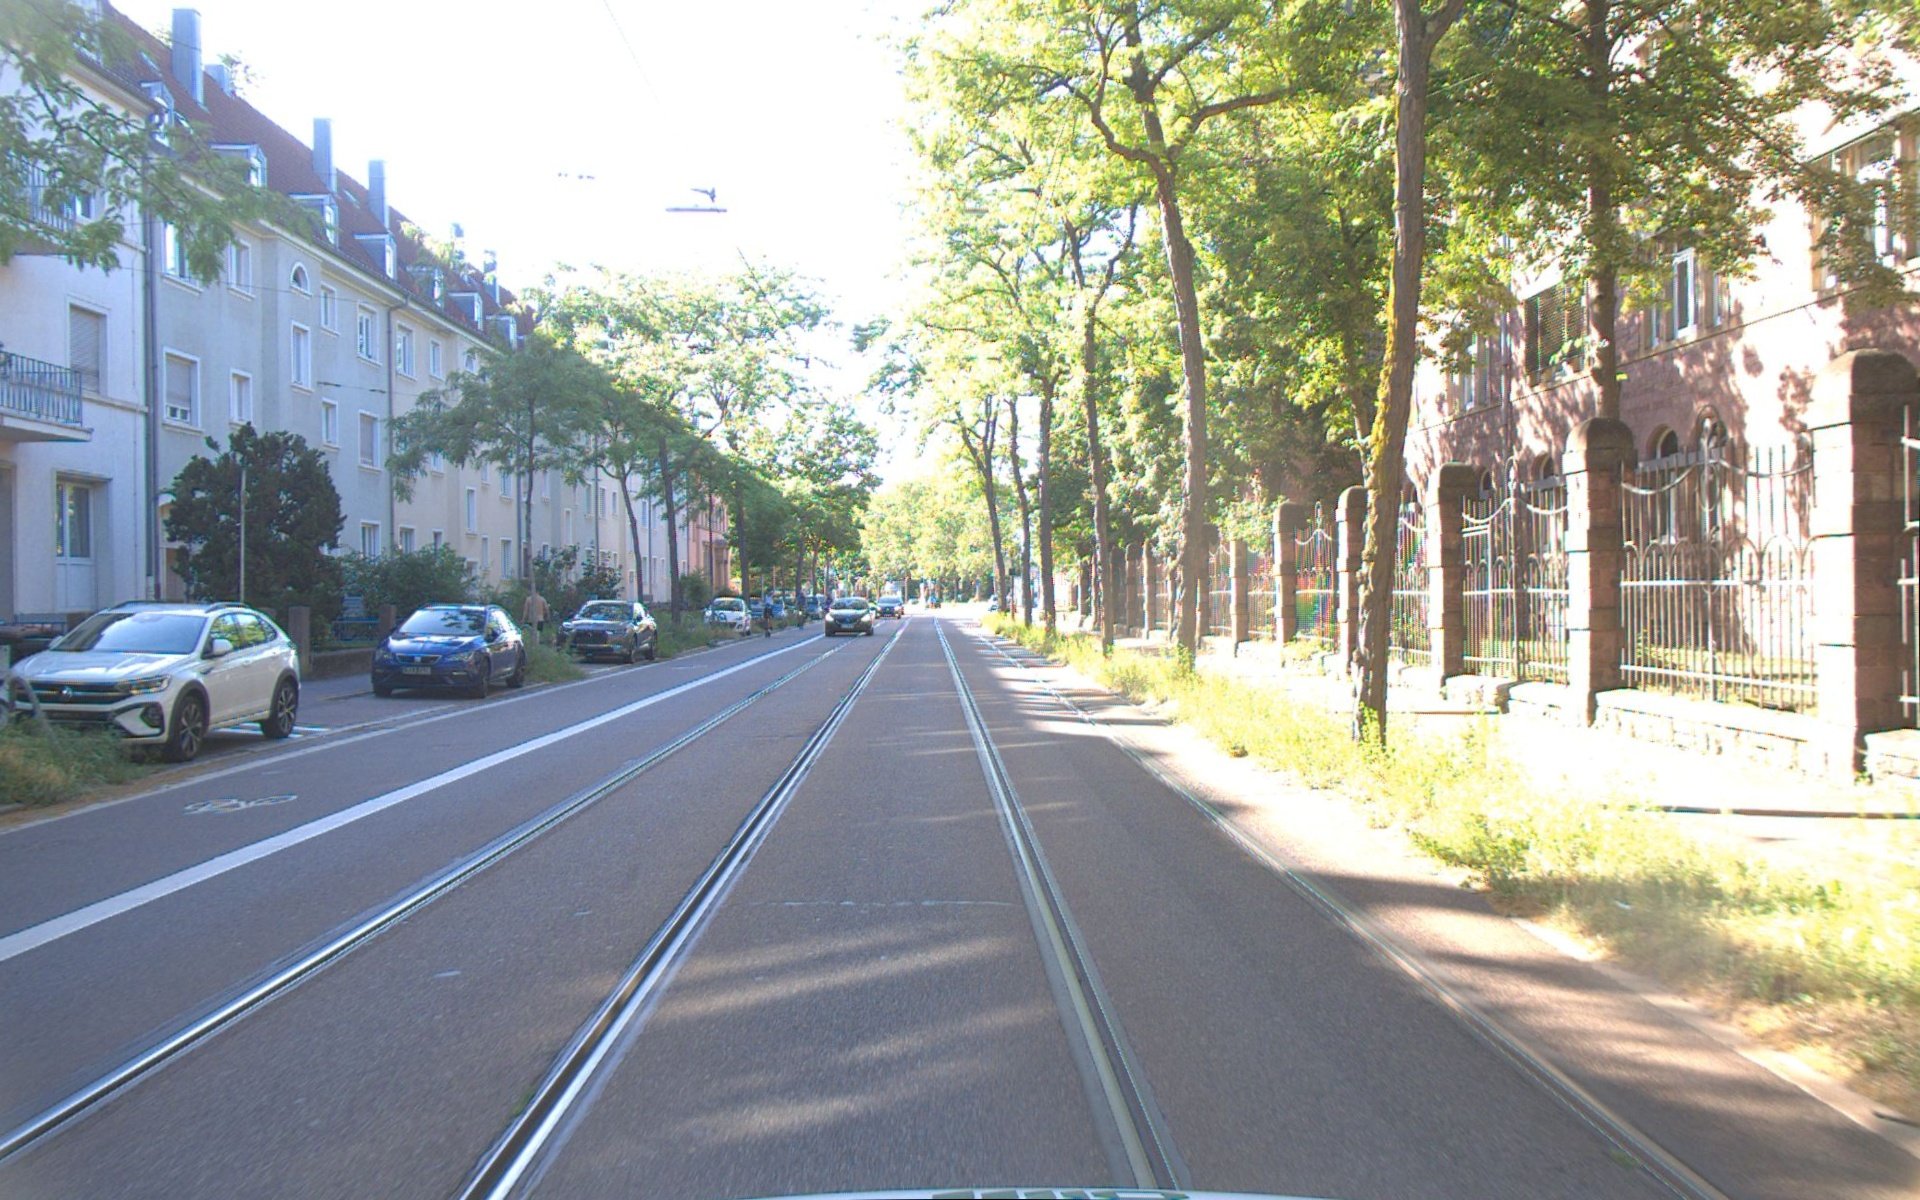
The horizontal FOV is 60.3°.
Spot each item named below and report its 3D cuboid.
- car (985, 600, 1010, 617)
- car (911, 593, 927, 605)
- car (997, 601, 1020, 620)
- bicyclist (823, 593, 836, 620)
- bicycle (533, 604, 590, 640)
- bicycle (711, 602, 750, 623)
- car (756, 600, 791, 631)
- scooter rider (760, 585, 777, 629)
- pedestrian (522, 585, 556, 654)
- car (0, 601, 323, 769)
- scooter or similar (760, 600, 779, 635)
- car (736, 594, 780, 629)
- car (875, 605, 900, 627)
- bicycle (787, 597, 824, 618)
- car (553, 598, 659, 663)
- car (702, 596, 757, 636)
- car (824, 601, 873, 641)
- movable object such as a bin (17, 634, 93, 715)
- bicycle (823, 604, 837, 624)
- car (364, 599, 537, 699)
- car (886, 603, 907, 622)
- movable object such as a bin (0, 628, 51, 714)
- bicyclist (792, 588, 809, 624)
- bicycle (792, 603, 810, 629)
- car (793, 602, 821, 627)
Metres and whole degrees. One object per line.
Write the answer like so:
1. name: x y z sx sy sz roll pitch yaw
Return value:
1. car: 3.713 0.812 163.149 1.905 1.638 3.994 -1 0 -6
2. car: -5.814 -0.112 232.597 1.905 1.638 3.995 -1 0 -6
3. car: 4.412 0.902 150.198 1.802 1.684 3.577 -1 0 -3
4. bicyclist: -8.221 0.394 104.233 0.695 1.635 0.865 -3 0 -1
5. bicycle: -14.025 0.778 58.257 1.869 1.198 0.521 1 0 -4
6. bicycle: -14.128 0.768 101.785 2.236 1.219 0.560 2 1 5
7. car: -9.617 0.784 85.472 1.529 1.482 3.928 2 0 -3
8. scooter rider: -7.594 0.274 65.656 0.486 1.729 0.786 -4 0 -1
9. pedestrian: -11.320 0.518 44.490 0.677 1.833 0.813 -1 0 -1
10. car: -8.431 0.791 17.552 1.781 1.537 4.369 1 0 -2
11. scooter or similar: -7.567 0.685 65.690 0.510 1.320 1.377 -4 0 -1
12. car: -9.256 0.525 75.960 1.653 1.511 3.758 2 0 -2
13. car: -4.866 1.061 110.934 1.665 1.464 4.069 0 0 -2
14. bicycle: -9.754 0.490 104.308 2.236 1.219 0.560 2 1 5
15. car: -8.723 0.719 41.080 1.780 1.511 4.205 1 0 -1
16. car: -9.336 0.612 67.256 1.668 1.511 4.078 2 0 -1
17. car: -4.233 0.788 63.383 1.722 1.464 4.521 0 0 -2
18. movable object such as a bin: -11.680 0.952 21.363 0.548 0.993 0.733 1 0 2
19. bicycle: -8.191 0.849 104.284 0.680 1.198 1.912 -3 0 -1
20. car: -8.536 0.771 28.096 1.722 1.537 4.436 1 0 -2
21. car: -5.133 1.003 133.424 1.665 1.497 4.069 0 0 -2
22. movable object such as a bin: -12.383 0.906 21.374 0.827 1.064 0.733 1 0 2
23. bicyclist: -7.672 0.282 79.587 0.613 1.667 0.940 -3 0 -1
24. bicycle: -7.648 0.749 79.621 0.614 1.198 1.912 -3 0 -1
25. car: -10.527 0.996 114.040 1.711 1.597 4.066 2 0 -4
